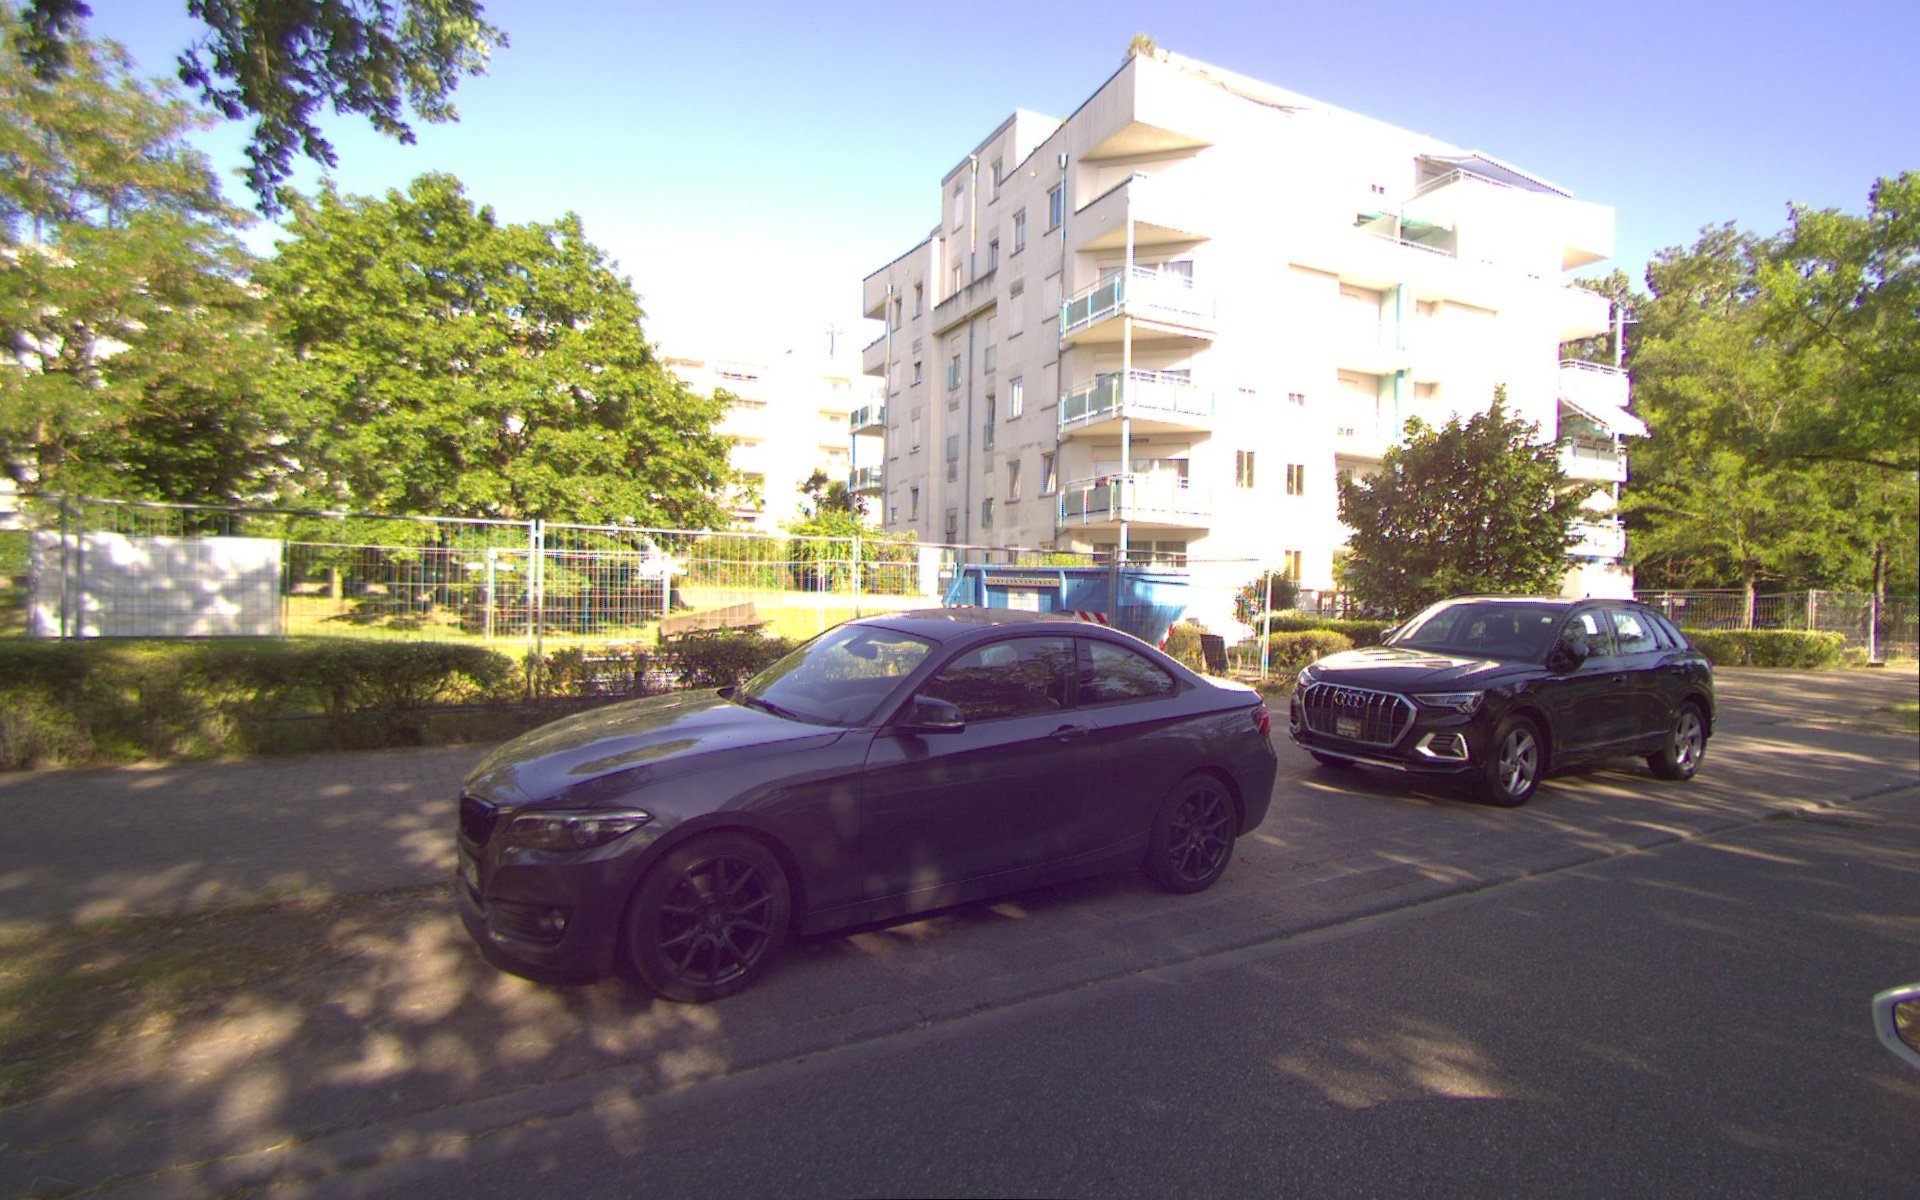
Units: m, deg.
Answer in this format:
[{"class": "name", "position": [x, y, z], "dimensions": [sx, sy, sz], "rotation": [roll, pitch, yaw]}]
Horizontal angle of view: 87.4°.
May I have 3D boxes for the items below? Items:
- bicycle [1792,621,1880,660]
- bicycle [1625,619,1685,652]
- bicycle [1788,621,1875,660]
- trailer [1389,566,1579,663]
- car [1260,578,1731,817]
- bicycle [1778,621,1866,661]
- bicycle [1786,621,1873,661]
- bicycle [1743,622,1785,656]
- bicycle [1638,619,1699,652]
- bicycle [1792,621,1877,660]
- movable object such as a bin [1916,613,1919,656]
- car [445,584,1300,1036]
[{"class": "bicycle", "position": [25.658, 1.176, 29.435], "dimensions": [0.398, 1.040, 1.896], "rotation": [2, 0, -43]}, {"class": "bicycle", "position": [23.180, 1.171, 33.533], "dimensions": [0.395, 1.040, 1.690], "rotation": [2, 0, -25]}, {"class": "bicycle", "position": [24.995, 1.156, 28.830], "dimensions": [0.398, 1.040, 1.841], "rotation": [2, 0, -43]}, {"class": "trailer", "position": [12.610, 0.336, 24.152], "dimensions": [4.290, 2.149, 1.856], "rotation": [1, 2, -28]}, {"class": "car", "position": [4.817, 0.699, 8.896], "dimensions": [4.172, 1.643, 1.766], "rotation": [1, 2, -31]}, {"class": "bicycle", "position": [24.240, 1.130, 28.271], "dimensions": [0.398, 1.040, 1.837], "rotation": [2, 0, -43]}, {"class": "bicycle", "position": [24.652, 1.144, 28.492], "dimensions": [0.398, 1.040, 1.820], "rotation": [2, 0, -43]}, {"class": "bicycle", "position": [25.427, 1.244, 31.763], "dimensions": [1.680, 1.040, 0.397], "rotation": [2, 0, -29]}, {"class": "bicycle", "position": [23.803, 1.185, 33.788], "dimensions": [0.395, 1.040, 1.690], "rotation": [2, 0, -25]}, {"class": "bicycle", "position": [25.314, 1.163, 29.111], "dimensions": [0.398, 1.040, 1.820], "rotation": [2, 0, -43]}, {"class": "movable object such as a bin", "position": [32.671, 1.161, 33.016], "dimensions": [1.300, 1.455, 1.273], "rotation": [1, 0, -3]}, {"class": "car", "position": [-0.263, 0.713, 5.198], "dimensions": [4.095, 1.452, 1.705], "rotation": [1, 2, -35]}]
